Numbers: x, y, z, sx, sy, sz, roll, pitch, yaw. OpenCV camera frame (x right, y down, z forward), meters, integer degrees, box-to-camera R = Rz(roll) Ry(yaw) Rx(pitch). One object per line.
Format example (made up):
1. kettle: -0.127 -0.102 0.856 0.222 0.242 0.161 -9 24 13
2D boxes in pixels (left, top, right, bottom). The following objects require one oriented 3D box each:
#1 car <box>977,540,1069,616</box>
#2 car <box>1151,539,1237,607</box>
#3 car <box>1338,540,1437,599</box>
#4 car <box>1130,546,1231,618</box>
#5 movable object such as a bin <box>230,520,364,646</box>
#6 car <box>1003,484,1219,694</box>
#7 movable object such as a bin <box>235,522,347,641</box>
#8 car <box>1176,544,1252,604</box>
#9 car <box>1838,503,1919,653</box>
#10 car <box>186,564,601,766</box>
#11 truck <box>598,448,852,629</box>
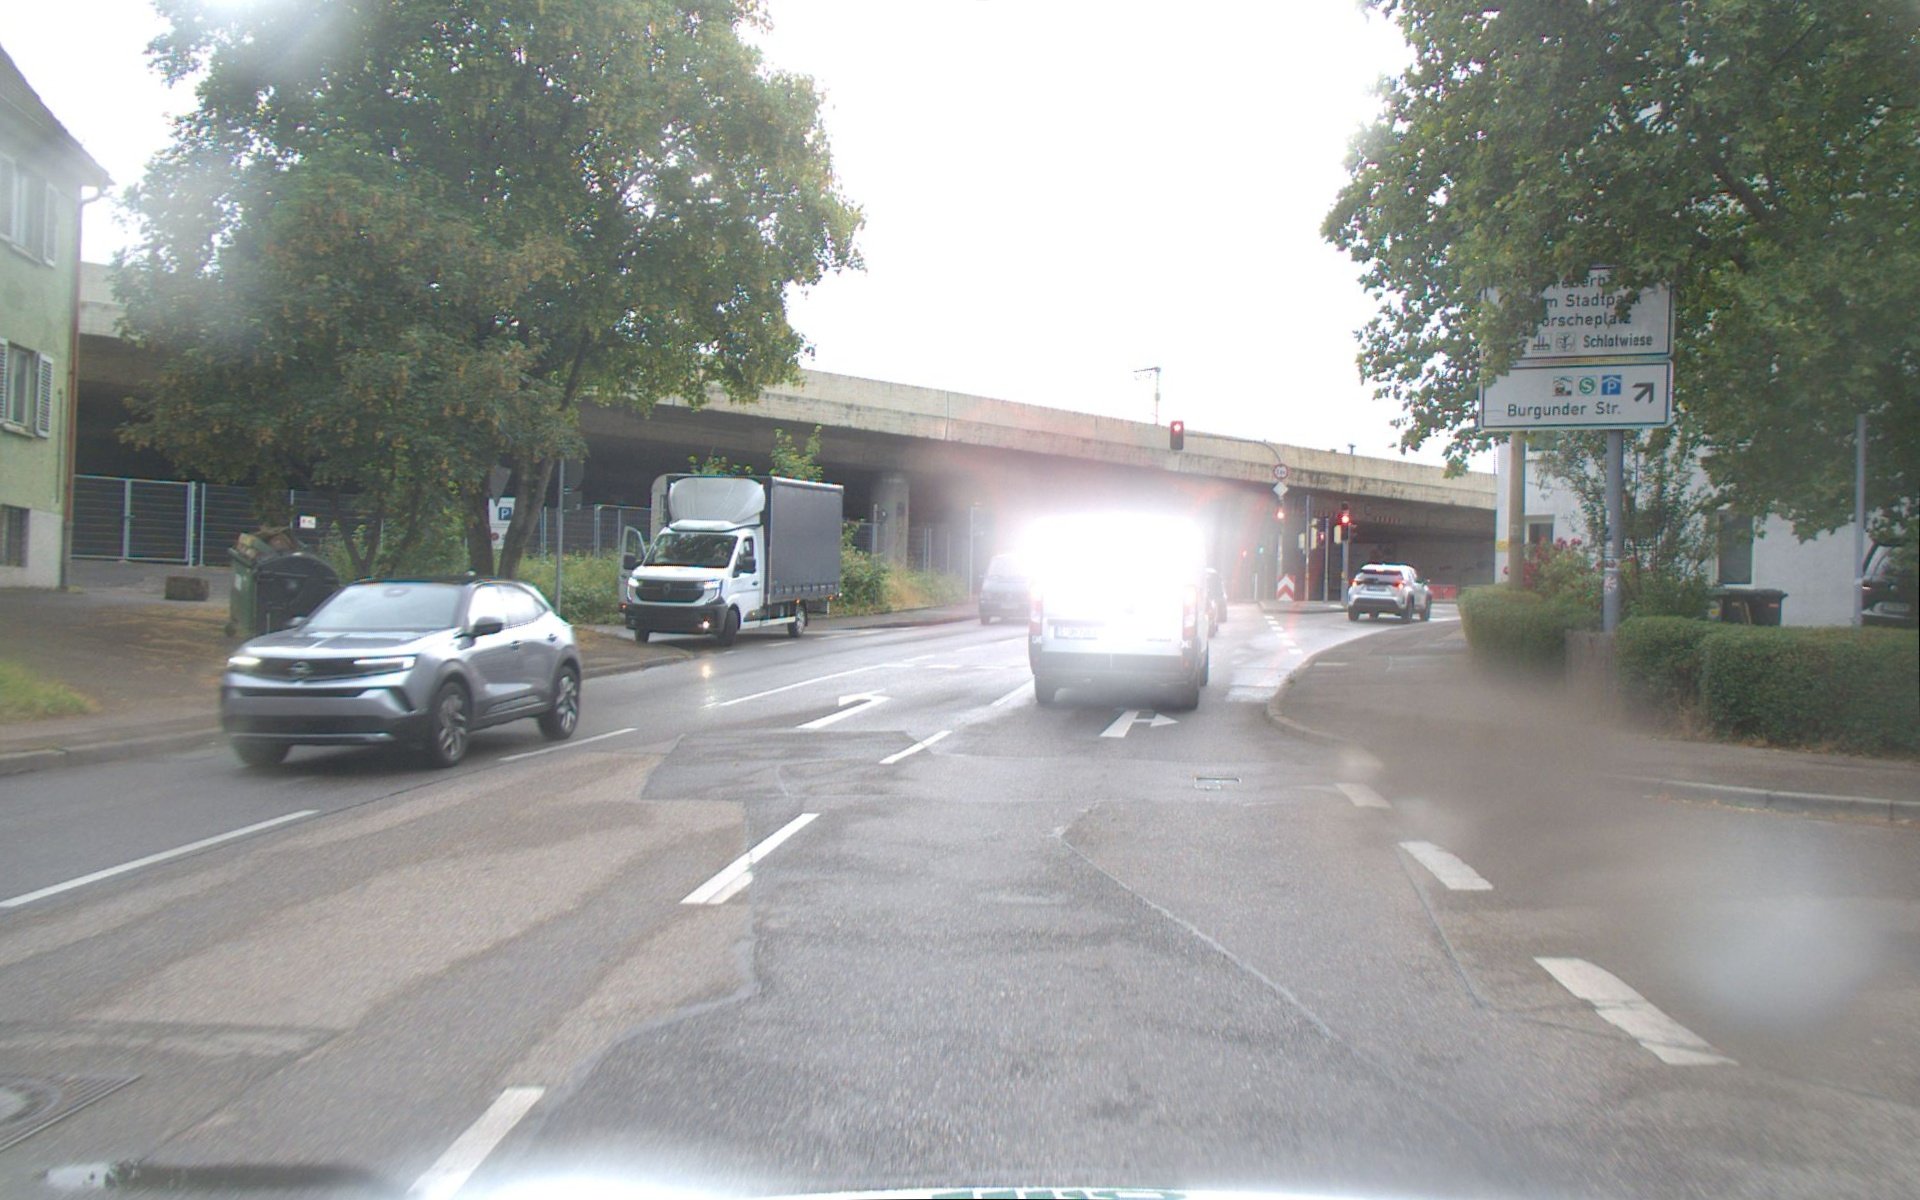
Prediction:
1. car: 1.796 -0.635 45.656 1.916 1.965 4.688 1 1 10
2. car: 6.508 -0.744 45.651 1.951 1.759 4.003 1 1 14
3. car: 12.273 -0.858 47.333 1.955 1.576 3.996 1 1 26
4. car: 5.117 -0.426 37.997 1.951 1.539 4.004 1 1 12
5. movable object such as a bin: -8.891 -0.235 22.151 1.280 1.461 1.446 3 5 -36
6. car: 2.138 -0.226 21.678 2.256 2.384 5.288 1 2 11
7. movable object such as a bin: -9.513 -0.271 23.479 1.088 1.461 1.446 3 5 -36
8. car: 7.995 -0.808 51.804 1.951 1.759 4.003 1 1 14
9. car: 14.605 -0.297 22.557 4.320 1.965 1.996 0 1 -10
10. car: -4.698 0.439 14.404 1.854 1.487 4.004 0 1 7
11. truck: -4.597 -1.231 34.276 2.554 3.293 7.783 1 1 13
